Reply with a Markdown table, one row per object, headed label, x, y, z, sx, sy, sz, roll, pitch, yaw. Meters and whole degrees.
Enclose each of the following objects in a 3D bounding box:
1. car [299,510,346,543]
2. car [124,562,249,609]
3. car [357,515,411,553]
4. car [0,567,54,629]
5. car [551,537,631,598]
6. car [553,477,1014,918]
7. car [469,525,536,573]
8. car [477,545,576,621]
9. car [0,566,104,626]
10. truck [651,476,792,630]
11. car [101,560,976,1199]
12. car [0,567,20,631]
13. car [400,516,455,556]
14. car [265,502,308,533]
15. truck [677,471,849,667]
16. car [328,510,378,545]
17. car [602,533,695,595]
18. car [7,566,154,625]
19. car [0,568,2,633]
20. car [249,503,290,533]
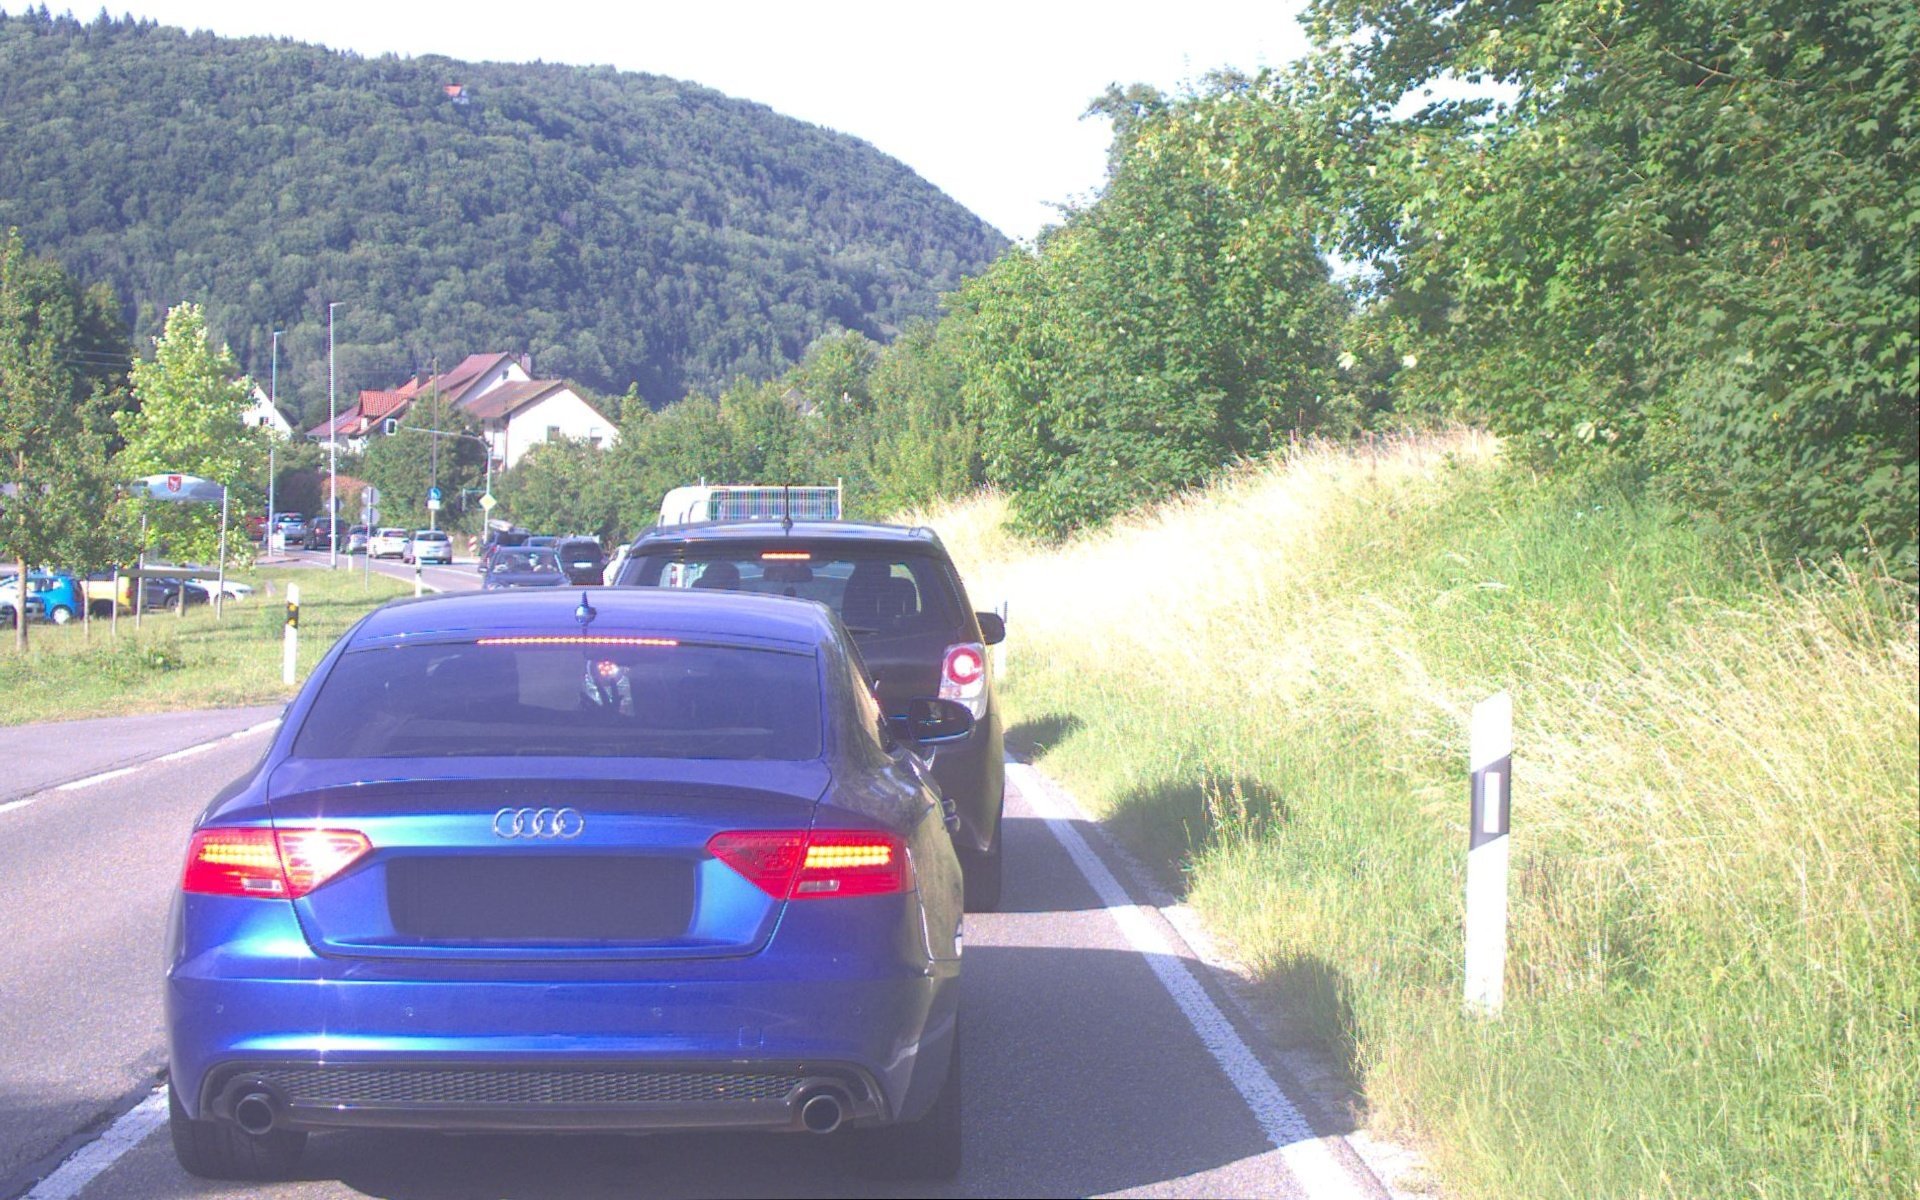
| label | x | y | z | sx | sy | sz | roll | pitch | yaw |
| --- | --- | --- | --- | --- | --- | --- | --- | --- | --- |
| car | -33.674 | -3.884 | 181.540 | 1.845 | 1.706 | 4.001 | 1 | 1 | -19 |
| car | -26.753 | -0.514 | 119.002 | 3.986 | 1.573 | 1.753 | 1 | 0 | -3 |
| car | -26.809 | -3.066 | 159.995 | 1.845 | 1.706 | 4.001 | 1 | 1 | -19 |
| car | -27.602 | -0.077 | 96.193 | 3.986 | 1.705 | 2.000 | 1 | 0 | -3 |
| car | -10.604 | -0.932 | 98.578 | 1.845 | 1.706 | 4.001 | 1 | 0 | -12 |
| car | -0.676 | 0.357 | 15.167 | 1.754 | 1.675 | 3.846 | 1 | 0 | 0 |
| car | -16.895 | -1.882 | 126.879 | 1.845 | 1.706 | 4.001 | 1 | 1 | -16 |
| car | -8.571 | -0.347 | 67.798 | 1.703 | 1.425 | 4.051 | 1 | 1 | -10 |
| car | -27.628 | -0.130 | 101.981 | 3.986 | 1.705 | 2.000 | 1 | 0 | -3 |
| truck | -4.303 | -0.823 | 61.025 | 2.229 | 2.561 | 6.709 | 1 | 0 | -6 |
| car | -0.849 | 0.626 | 8.873 | 1.754 | 1.425 | 3.846 | 1 | 0 | 0 |
| car | -27.655 | -0.048 | 92.909 | 3.986 | 1.705 | 2.000 | 1 | 0 | -3 |
| car | -23.080 | -2.752 | 148.894 | 1.845 | 1.706 | 4.001 | 1 | 1 | -16 |
| car | -37.826 | -4.619 | 192.939 | 1.845 | 1.706 | 4.001 | 1 | 1 | -19 |
| truck | -2.723 | -0.437 | 48.377 | 2.229 | 2.561 | 6.104 | 1 | 0 | -2 |
| car | -30.226 | -3.597 | 171.124 | 1.845 | 1.706 | 4.001 | 1 | 1 | -19 |
| car | -7.769 | -0.893 | 85.508 | 1.845 | 1.477 | 4.001 | 1 | 1 | -12 |
| car | -26.746 | -0.142 | 104.639 | 3.986 | 1.705 | 2.000 | 1 | 0 | -3 |
| car | -27.123 | -0.008 | 89.254 | 3.986 | 1.705 | 2.000 | 1 | 0 | -3 |
| car | -40.493 | -4.810 | 201.612 | 1.845 | 1.706 | 4.001 | 1 | 1 | -19 |
